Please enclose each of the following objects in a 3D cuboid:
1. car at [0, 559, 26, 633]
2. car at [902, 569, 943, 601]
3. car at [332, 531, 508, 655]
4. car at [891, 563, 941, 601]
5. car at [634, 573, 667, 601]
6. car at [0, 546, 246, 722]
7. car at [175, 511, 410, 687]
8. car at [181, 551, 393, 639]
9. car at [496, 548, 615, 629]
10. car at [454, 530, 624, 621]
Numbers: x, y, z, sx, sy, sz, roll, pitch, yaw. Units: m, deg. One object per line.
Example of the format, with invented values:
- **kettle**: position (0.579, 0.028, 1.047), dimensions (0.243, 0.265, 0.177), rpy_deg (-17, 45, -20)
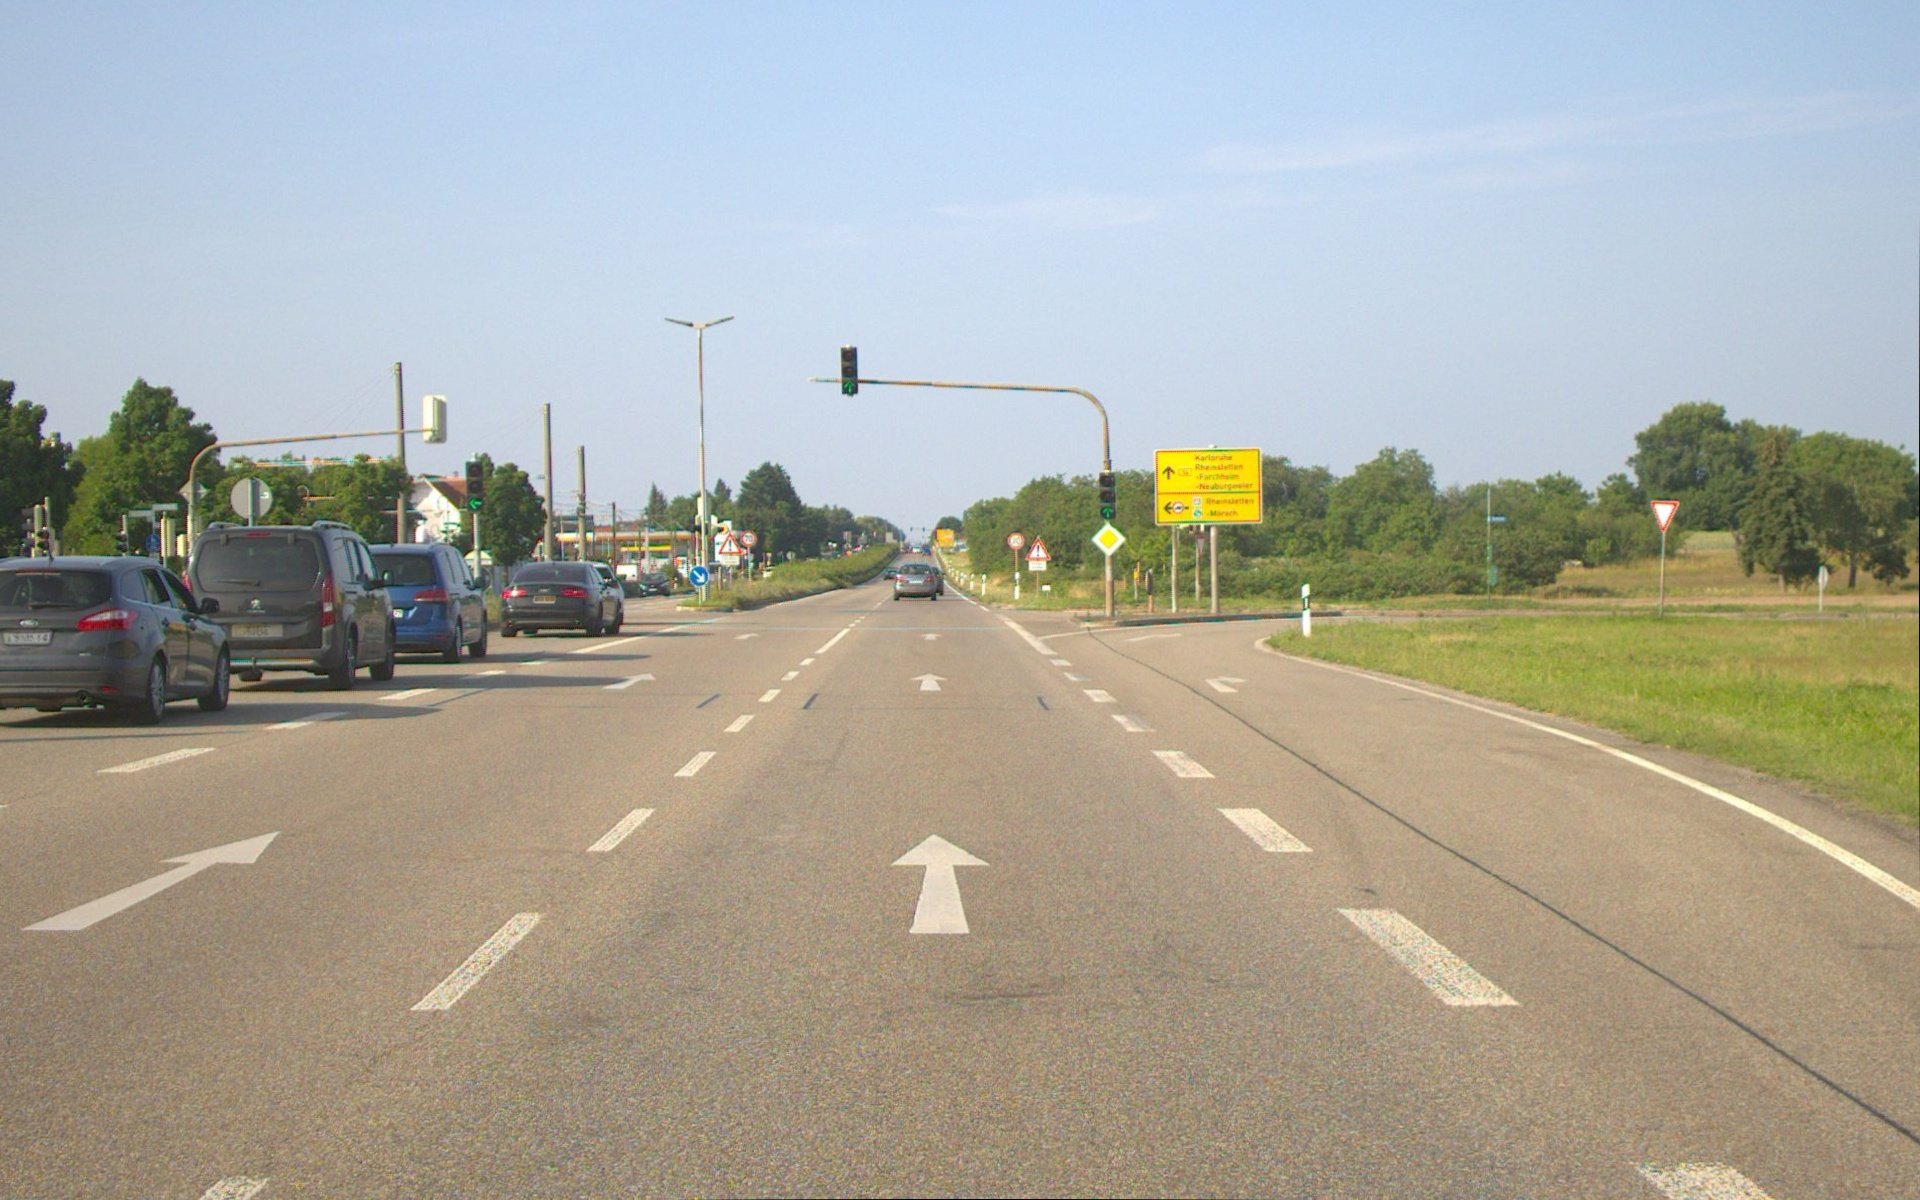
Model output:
- **car**: position (-23.419, -0.129, 77.934), dimensions (3.991, 1.656, 1.885), rpy_deg (1, -1, 22)
- **car**: position (-1.902, -0.750, 173.909), dimensions (1.993, 1.546, 4.000), rpy_deg (0, 1, 0)
- **car**: position (-7.638, -0.130, 48.971), dimensions (1.770, 1.673, 4.520), rpy_deg (0, 1, 0)
- **car**: position (-1.829, -0.757, 143.248), dimensions (1.993, 1.546, 4.000), rpy_deg (0, 1, 0)
- **car**: position (-18.982, -0.781, 210.903), dimensions (1.688, 1.656, 3.758), rpy_deg (0, 1, 0)
- **car**: position (-7.765, 0.248, 30.901), dimensions (1.732, 1.451, 4.520), rpy_deg (0, 1, 0)
- **car**: position (-7.434, -0.047, 38.686), dimensions (1.732, 1.849, 4.520), rpy_deg (0, 1, 0)
- **car**: position (-16.036, -0.112, 82.100), dimensions (4.820, 2.007, 2.000), rpy_deg (-1, -1, -6)
- **car**: position (-7.650, -0.242, 65.319), dimensions (1.770, 1.466, 4.015), rpy_deg (0, 1, 0)
- **car**: position (-9.575, -0.568, 78.006), dimensions (1.830, 2.007, 3.998), rpy_deg (-1, 1, -43)
